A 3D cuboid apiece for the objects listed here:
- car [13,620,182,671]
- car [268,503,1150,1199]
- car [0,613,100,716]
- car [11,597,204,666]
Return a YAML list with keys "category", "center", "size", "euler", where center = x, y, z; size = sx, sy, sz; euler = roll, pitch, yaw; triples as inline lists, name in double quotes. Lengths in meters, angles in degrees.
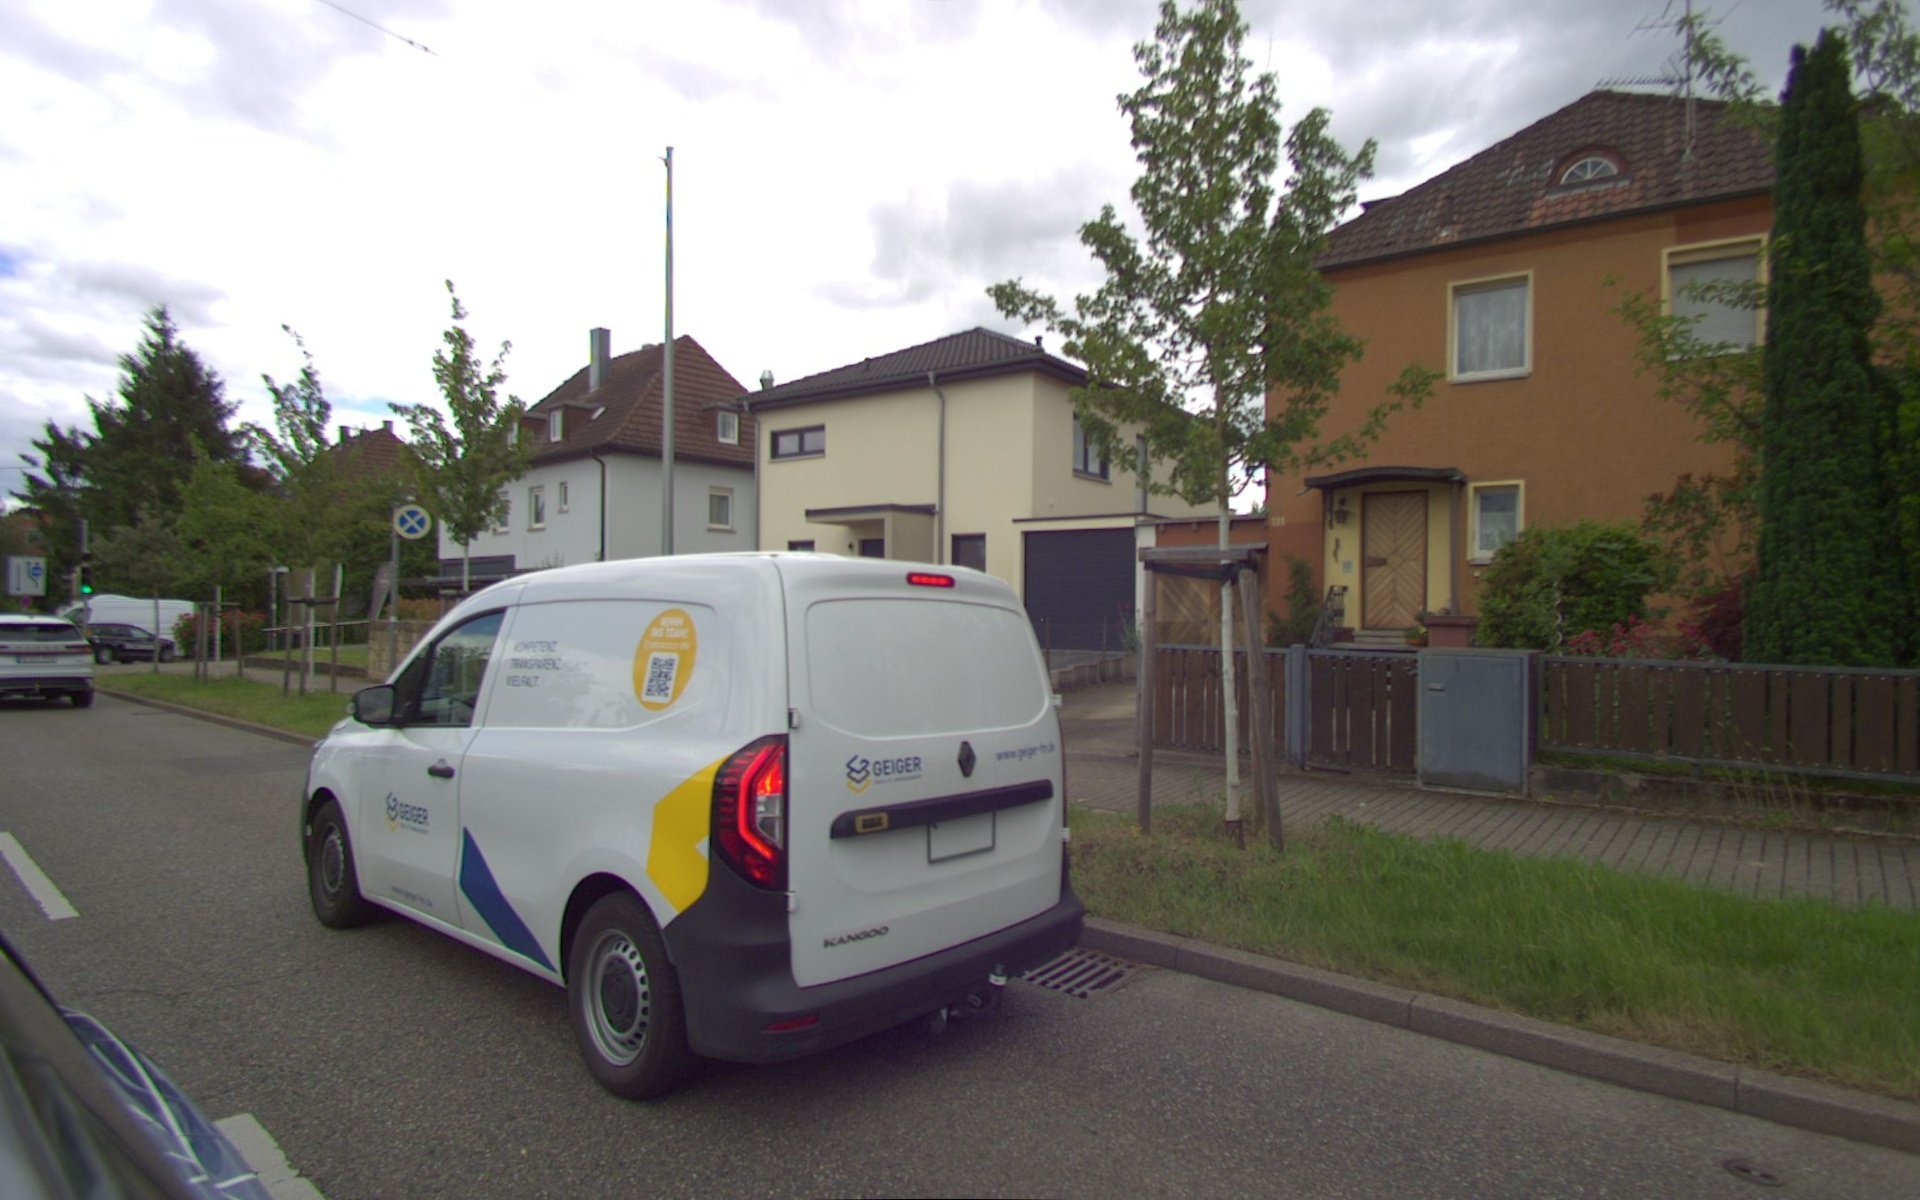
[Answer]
- category: "car"
  center: [-30.554, 1.567, 36.071]
  size: [1.973, 1.633, 4.644]
  euler: [-1, -1, 2]
- category: "car"
  center: [-1.464, 0.698, 4.632]
  size: [4.296, 1.765, 1.776]
  euler: [-1, -2, 41]
- category: "car"
  center: [-17.453, 1.119, 18.568]
  size: [4.462, 1.706, 1.795]
  euler: [-1, -3, 40]
- category: "car"
  center: [-33.896, 1.290, 40.510]
  size: [5.527, 2.583, 2.136]
  euler: [3, -2, -32]
